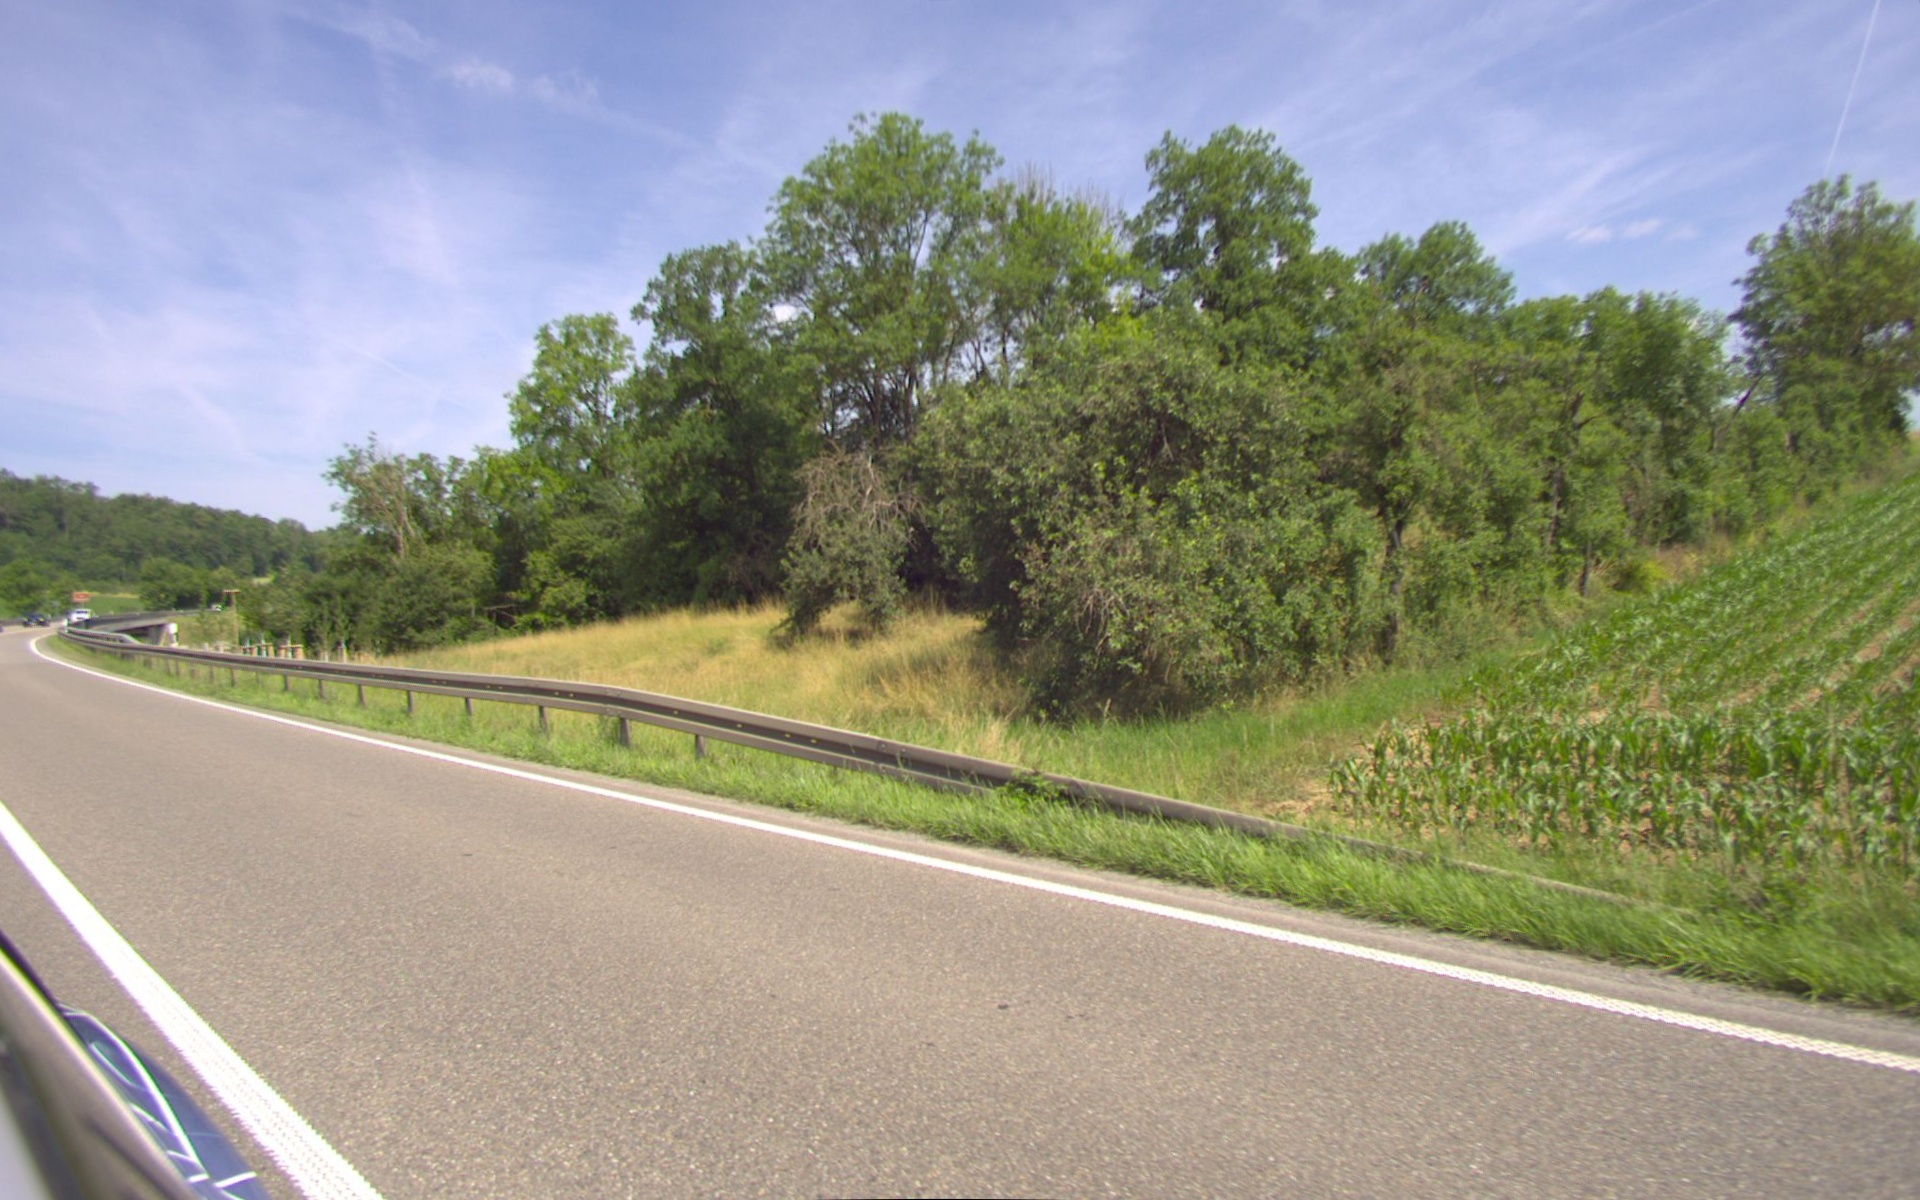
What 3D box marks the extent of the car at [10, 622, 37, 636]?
[{"bbox_3d":[-108.938,3.372,117.741,1.715,1.465,4.047,0,0,-34],"label":"car"}]
